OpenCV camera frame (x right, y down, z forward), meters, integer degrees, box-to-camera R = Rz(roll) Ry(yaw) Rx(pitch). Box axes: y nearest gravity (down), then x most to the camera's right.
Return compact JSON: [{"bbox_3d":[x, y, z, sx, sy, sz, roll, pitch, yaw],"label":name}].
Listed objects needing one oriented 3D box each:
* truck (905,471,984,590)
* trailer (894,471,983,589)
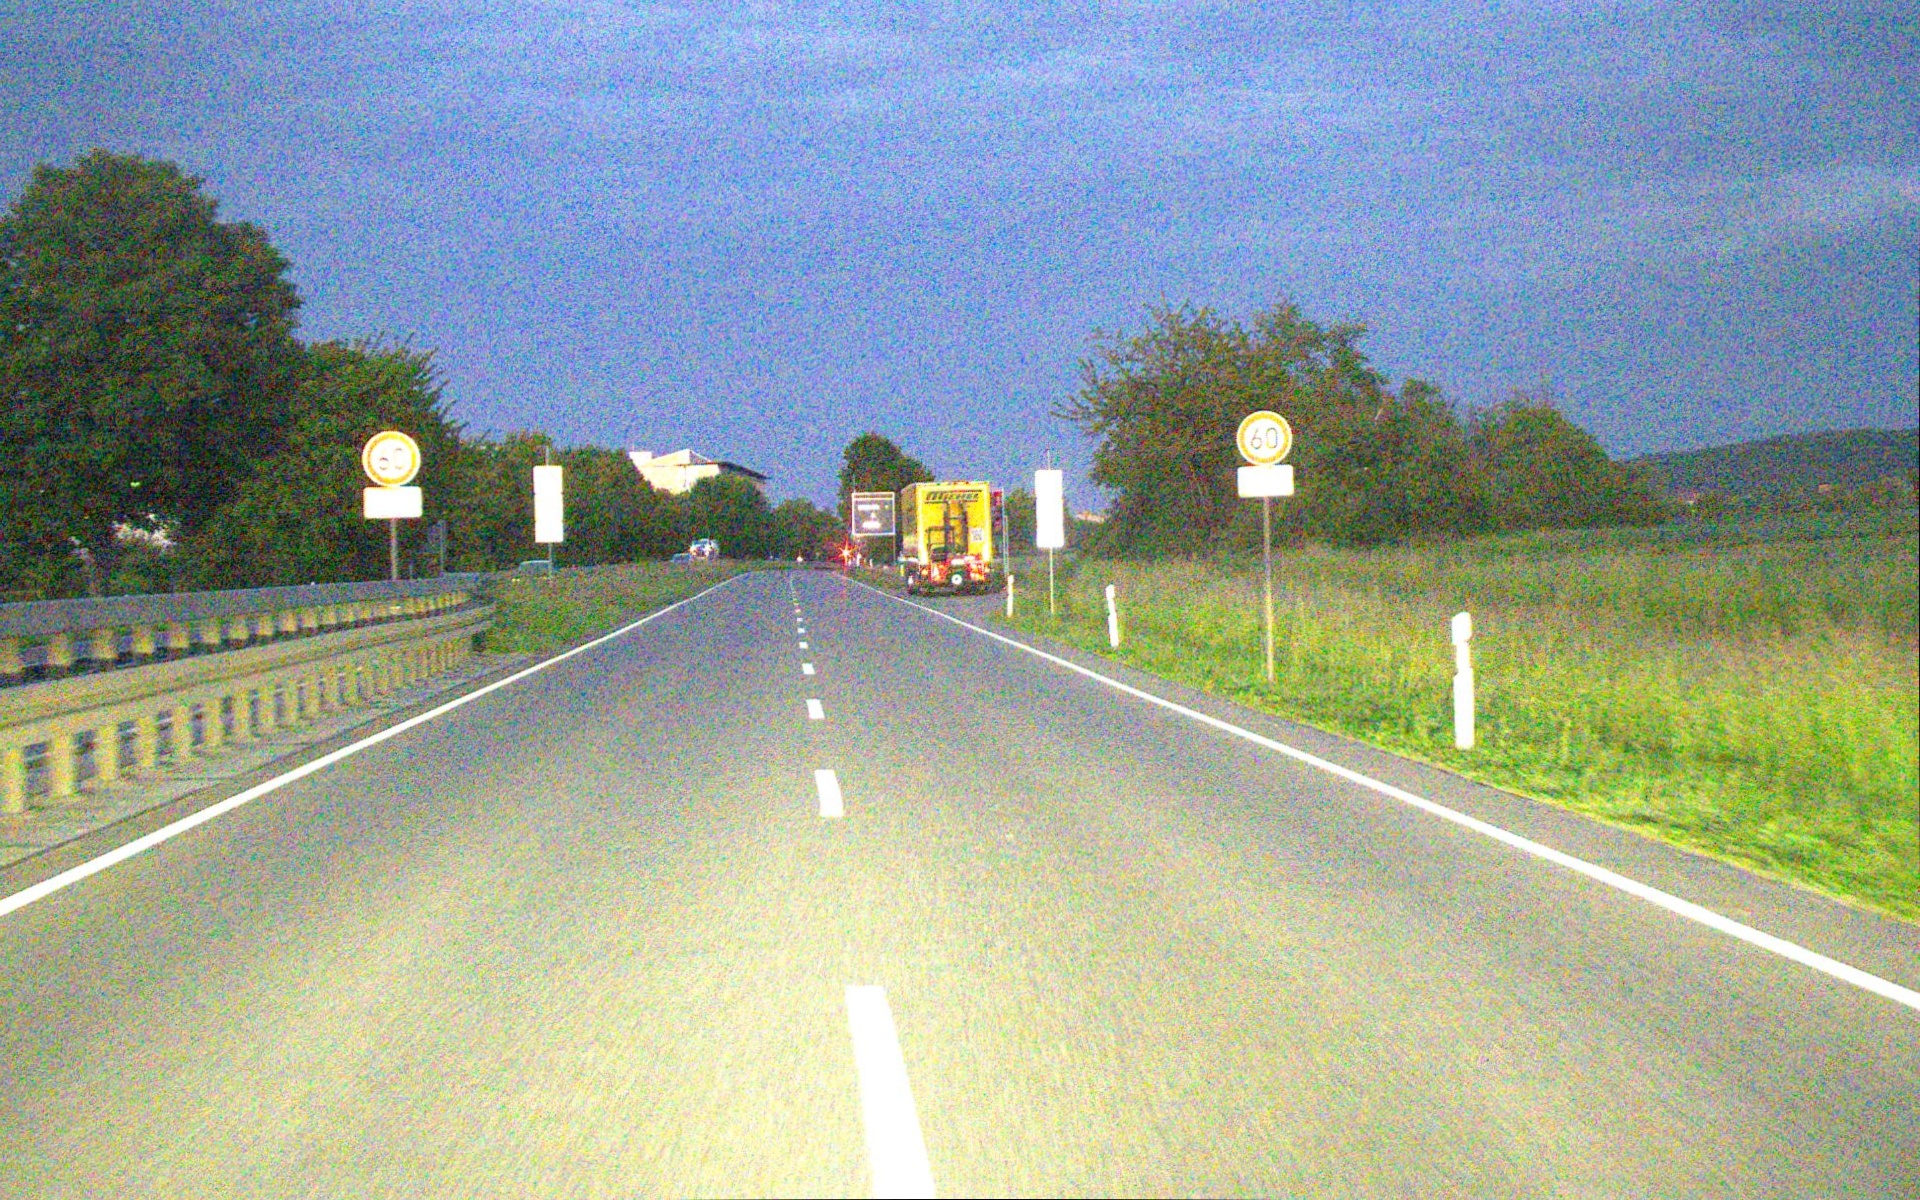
[{"bbox_3d":[-0.571,-2.452,120.706,2.579,4.057,6.130,0,1,-2],"label":"truck"},{"bbox_3d":[-0.880,-2.592,127.534,2.622,4.090,12.939,-1,1,-3],"label":"trailer"}]
